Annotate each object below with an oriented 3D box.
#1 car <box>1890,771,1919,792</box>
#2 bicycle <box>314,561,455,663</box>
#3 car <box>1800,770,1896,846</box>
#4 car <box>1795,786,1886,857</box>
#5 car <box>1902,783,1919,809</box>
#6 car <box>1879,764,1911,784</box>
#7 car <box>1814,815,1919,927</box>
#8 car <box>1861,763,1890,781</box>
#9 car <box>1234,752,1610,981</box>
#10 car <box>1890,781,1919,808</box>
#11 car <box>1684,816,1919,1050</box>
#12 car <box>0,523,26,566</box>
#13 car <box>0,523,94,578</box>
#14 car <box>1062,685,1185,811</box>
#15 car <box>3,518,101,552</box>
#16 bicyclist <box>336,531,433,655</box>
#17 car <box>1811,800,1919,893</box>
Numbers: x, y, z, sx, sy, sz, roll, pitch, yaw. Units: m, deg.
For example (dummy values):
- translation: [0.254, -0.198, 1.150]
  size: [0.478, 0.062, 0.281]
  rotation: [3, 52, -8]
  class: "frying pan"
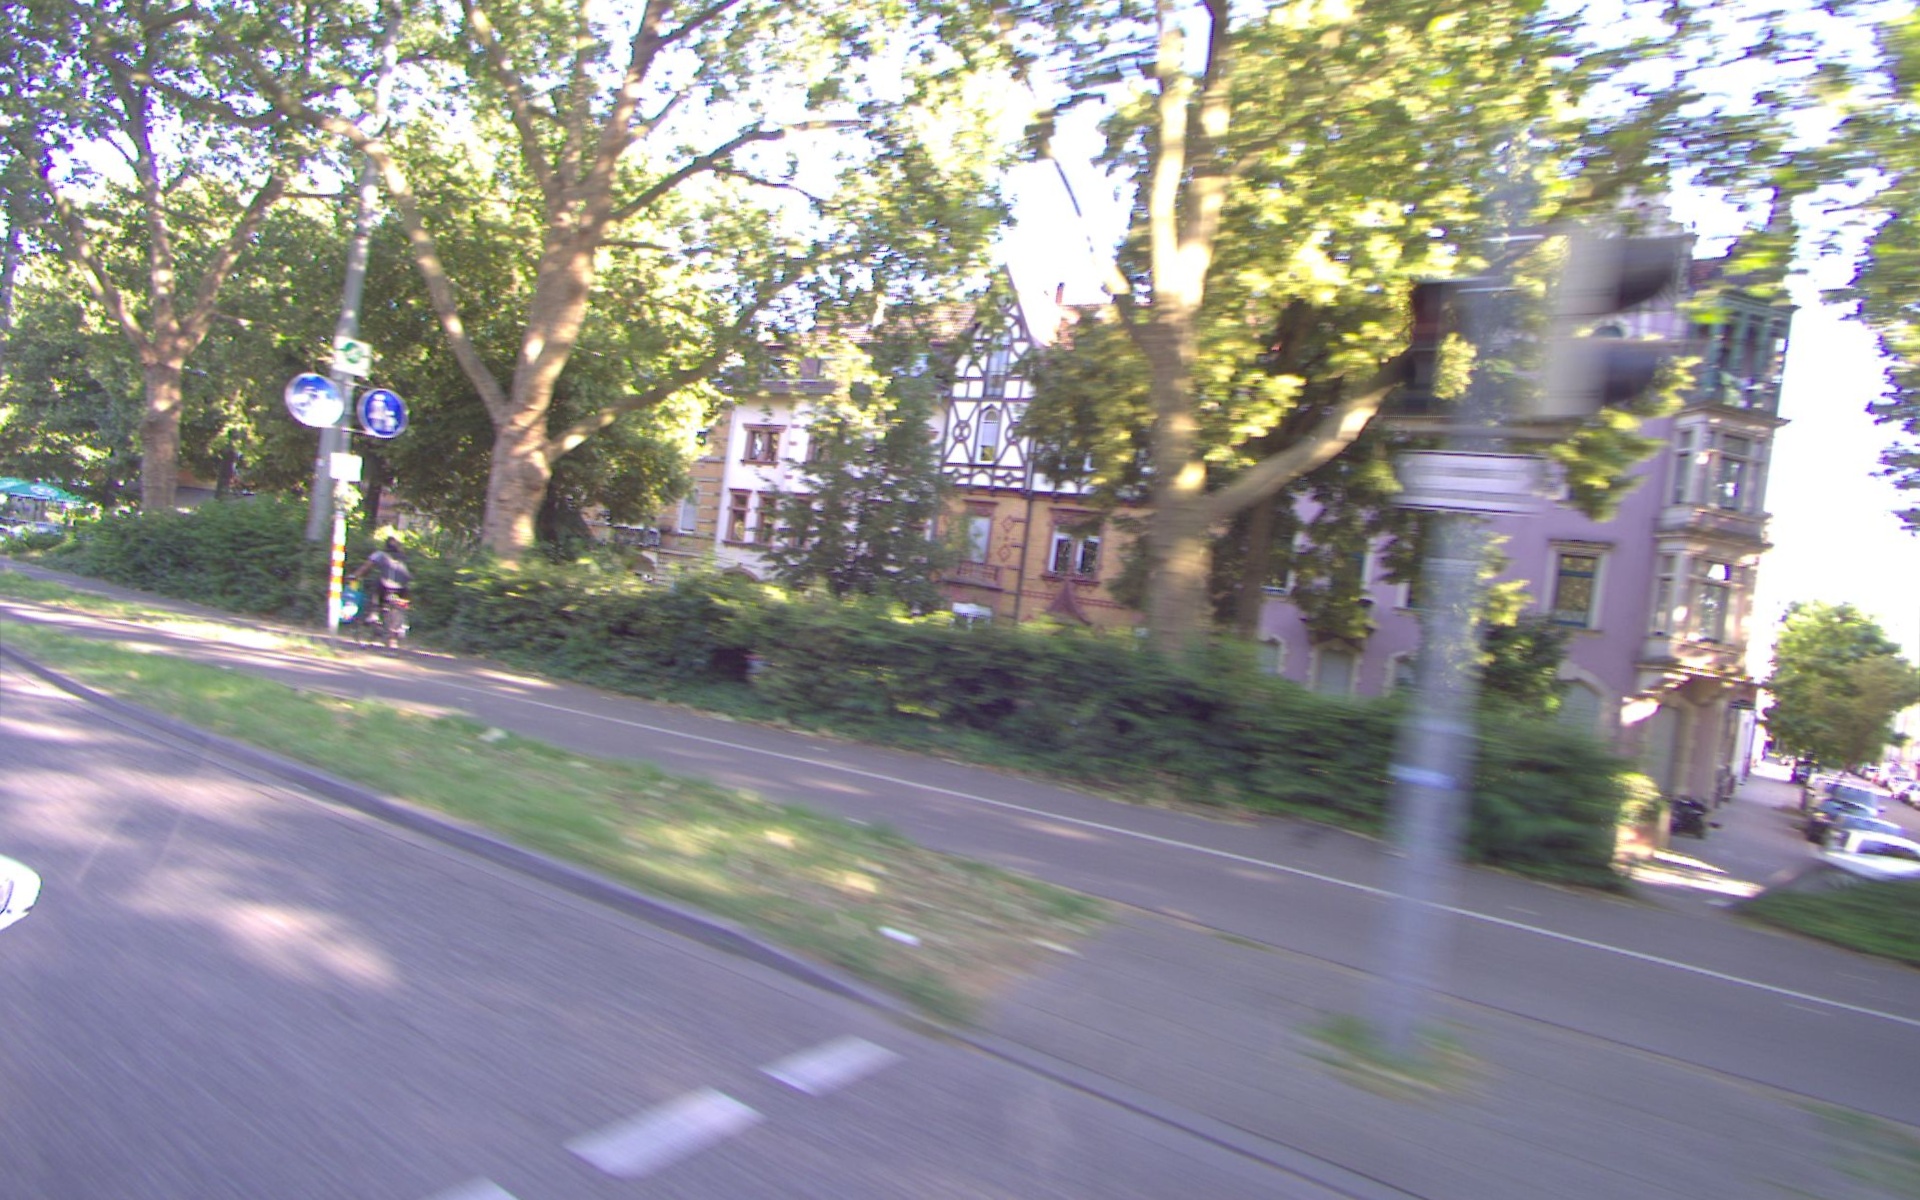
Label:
- translation: [87.485, 16.786, 92.988]
  size: [1.774, 1.527, 3.988]
  rotation: [5, -3, 39]
  class: "car"
- translation: [-7.653, 0.156, 13.363]
  size: [1.770, 1.121, 0.767]
  rotation: [7, 0, 31]
  class: "bicycle"
- translation: [34.029, 7.908, 38.691]
  size: [2.093, 1.993, 4.605]
  rotation: [11, 2, 36]
  class: "car"
- translation: [29.782, 7.442, 34.131]
  size: [1.772, 1.529, 3.986]
  rotation: [11, 2, 36]
  class: "car"
- translation: [65.450, 13.440, 68.071]
  size: [1.772, 1.528, 4.142]
  rotation: [11, 0, 36]
  class: "car"
- translation: [92.011, 17.126, 99.061]
  size: [1.773, 1.527, 3.991]
  rotation: [6, -3, 37]
  class: "car"
- translation: [20.476, 5.983, 22.363]
  size: [1.772, 1.529, 4.138]
  rotation: [11, 2, 36]
  class: "car"
- translation: [97.537, 18.291, 107.234]
  size: [1.773, 1.527, 3.991]
  rotation: [6, -3, 37]
  class: "car"
- translation: [5.946, 3.272, 13.148]
  size: [4.031, 1.832, 1.908]
  rotation: [7, -2, 32]
  class: "car"
- translation: [68.714, 14.108, 72.548]
  size: [1.772, 1.528, 4.142]
  rotation: [11, 0, 36]
  class: "car"
- translation: [10.364, 3.689, 10.675]
  size: [4.031, 1.832, 1.908]
  rotation: [7, -2, 32]
  class: "car"
- translation: [-39.241, -2.403, 40.035]
  size: [4.369, 1.596, 1.798]
  rotation: [6, -3, 31]
  class: "car"
- translation: [-34.112, -1.873, 37.143]
  size: [4.477, 1.596, 1.798]
  rotation: [6, -3, 31]
  class: "car"
- translation: [3.615, 3.253, 23.083]
  size: [1.960, 2.039, 4.463]
  rotation: [8, 0, 1]
  class: "car"
- translation: [-48.940, -3.452, 54.319]
  size: [1.748, 1.364, 3.996]
  rotation: [8, 0, -5]
  class: "car"
- translation: [-7.634, -0.085, 13.355]
  size: [0.639, 1.531, 0.767]
  rotation: [7, 1, 31]
  class: "bicyclist"
- translation: [24.381, 6.537, 27.050]
  size: [1.772, 1.529, 3.986]
  rotation: [11, 2, 36]
  class: "car"
